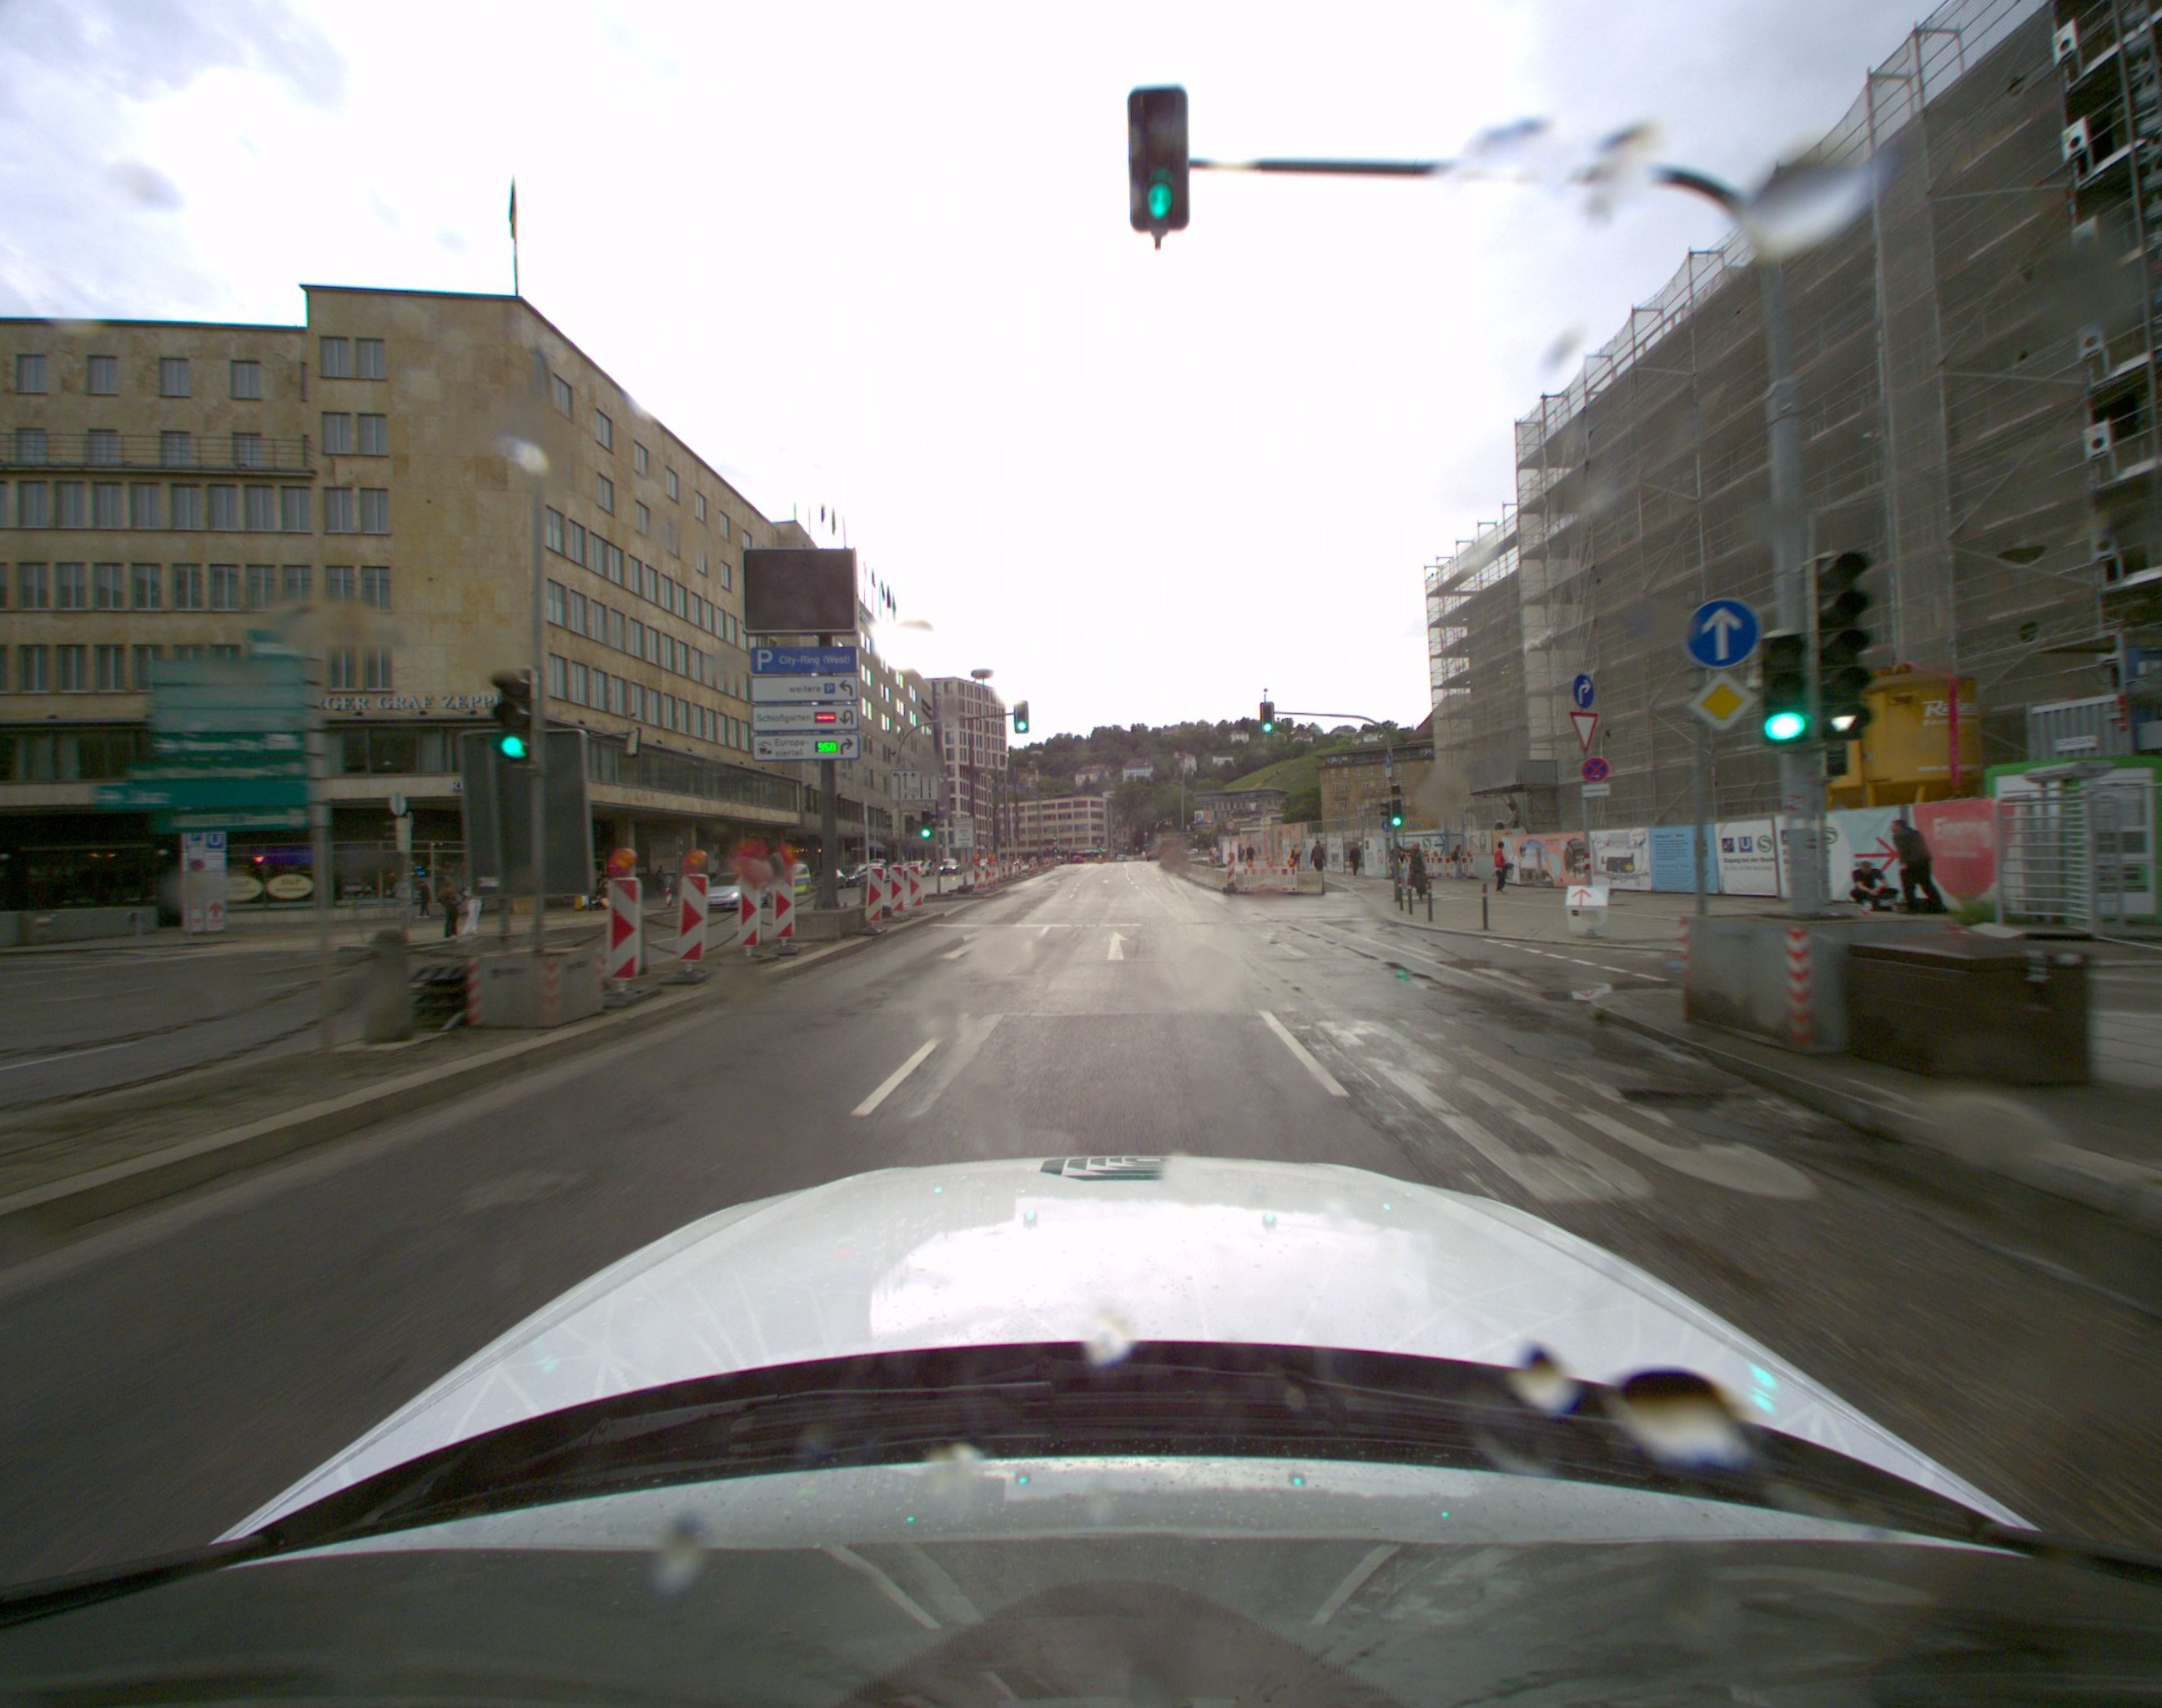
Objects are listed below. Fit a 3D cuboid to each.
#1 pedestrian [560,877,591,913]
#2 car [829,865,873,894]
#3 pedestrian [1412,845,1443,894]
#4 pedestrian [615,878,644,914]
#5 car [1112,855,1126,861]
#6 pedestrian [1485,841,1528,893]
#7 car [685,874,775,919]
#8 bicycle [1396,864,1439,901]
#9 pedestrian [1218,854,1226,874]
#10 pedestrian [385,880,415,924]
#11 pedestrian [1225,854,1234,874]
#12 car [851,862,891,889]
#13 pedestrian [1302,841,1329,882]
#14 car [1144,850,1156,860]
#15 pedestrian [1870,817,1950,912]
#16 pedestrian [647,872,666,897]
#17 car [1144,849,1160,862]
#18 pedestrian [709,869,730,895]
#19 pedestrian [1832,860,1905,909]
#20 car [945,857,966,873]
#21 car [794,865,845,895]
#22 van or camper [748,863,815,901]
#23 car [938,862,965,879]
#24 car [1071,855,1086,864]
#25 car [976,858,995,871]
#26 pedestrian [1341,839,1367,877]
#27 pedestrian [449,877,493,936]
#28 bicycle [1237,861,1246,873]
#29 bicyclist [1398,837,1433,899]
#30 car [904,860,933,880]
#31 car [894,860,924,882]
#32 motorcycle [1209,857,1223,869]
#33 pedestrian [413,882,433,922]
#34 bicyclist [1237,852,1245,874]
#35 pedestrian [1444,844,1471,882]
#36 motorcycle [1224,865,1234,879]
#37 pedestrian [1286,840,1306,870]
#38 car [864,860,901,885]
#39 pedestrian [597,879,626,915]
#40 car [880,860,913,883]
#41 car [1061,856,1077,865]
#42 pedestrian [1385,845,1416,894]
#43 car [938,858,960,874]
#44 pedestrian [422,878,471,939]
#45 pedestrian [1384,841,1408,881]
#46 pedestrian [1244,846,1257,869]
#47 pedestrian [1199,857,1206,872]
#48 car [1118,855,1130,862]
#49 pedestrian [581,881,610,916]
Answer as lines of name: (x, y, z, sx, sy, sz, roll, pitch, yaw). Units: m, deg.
pedestrian: (-23.066, 1.857, 37.186, 0.718, 1.557, 1.005, -2, -1, 2)
car: (-17.055, 1.850, 60.495, 1.986, 2.014, 4.001, -2, -1, 1)
pedestrian: (11.490, 0.510, 27.001, 0.787, 1.608, 0.841, -3, -1, 29)
pedestrian: (-20.293, 1.881, 36.608, 0.718, 1.557, 0.895, -2, -1, 2)
car: (8.880, 0.958, 191.843, 1.998, 1.442, 3.977, 0, 0, -17)
pedestrian: (13.590, 0.409, 26.032, 0.768, 1.608, 0.859, -2, -1, -14)
car: (-14.279, 1.678, 33.365, 1.762, 1.609, 4.226, -2, -1, 1)
bicycle: (10.176, 0.839, 24.678, 0.704, 1.049, 1.809, -1, 0, 5)
pedestrian: (13.481, 0.951, 77.809, 0.685, 1.841, 0.615, -2, -1, 5)
pedestrian: (-28.985, 2.040, 34.663, 0.697, 1.803, 0.756, -2, -1, -18)
pedestrian: (14.194, 0.945, 77.739, 0.685, 1.841, 0.615, -2, -1, 5)
car: (-17.052, 1.716, 66.354, 1.986, 2.014, 4.165, -2, -1, 1)
pedestrian: (10.787, 0.345, 37.463, 0.937, 1.841, 0.953, -3, -1, 31)
car: (11.380, 0.192, 134.611, 1.769, 1.639, 4.002, -2, 0, 2)
pedestrian: (15.131, 0.193, 14.891, 0.698, 1.672, 0.801, -2, -1, 21)
pedestrian: (-26.403, 1.897, 50.664, 0.791, 1.526, 0.717, -2, -1, 2)
car: (10.437, 0.215, 120.207, 1.987, 1.706, 3.998, -2, -1, -1)
pedestrian: (-21.872, 1.697, 49.330, 0.791, 1.526, 0.917, -2, -1, 2)
pedestrian: (15.636, 0.604, 16.196, 0.788, 0.940, 0.721, -2, -1, 19)
car: (-17.063, 1.446, 110.851, 1.986, 2.013, 4.001, -2, 0, 1)
car: (-17.402, 1.683, 54.331, 1.986, 1.838, 4.001, -2, -1, 1)
van or camper: (-17.492, 1.596, 47.827, 1.987, 2.014, 4.965, -2, -1, 0)
car: (-13.707, 1.721, 86.452, 1.986, 1.750, 4.001, -2, -1, 1)
car: (-0.481, 0.962, 145.862, 1.994, 1.552, 3.985, -2, -1, -10)
car: (-13.157, 1.421, 111.989, 1.986, 1.618, 4.001, -2, -1, 1)
pedestrian: (13.585, 0.176, 40.518, 0.856, 1.841, 0.955, -3, -2, 43)
pedestrian: (-17.908, 1.539, 23.913, 0.753, 1.672, 0.700, -2, -1, 14)
bicycle: (14.790, 1.195, 75.208, 0.641, 1.137, 1.766, -2, -1, 5)
bicyclist: (10.168, 0.429, 24.792, 0.700, 1.845, 0.969, -1, -1, 5)
car: (-16.986, 1.641, 85.187, 1.986, 2.014, 4.417, -2, -1, 1)
car: (-16.952, 1.643, 80.357, 1.986, 2.014, 4.001, -2, -1, 1)
motorcycle: (7.273, 0.483, 44.013, 0.401, 0.682, 0.917, 0, 0, -15)
pedestrian: (-28.552, 2.073, 35.319, 0.653, 1.644, 0.689, -1, -1, -39)
bicyclist: (14.779, 0.855, 75.209, 0.639, 2.014, 0.656, -2, -1, 5)
pedestrian: (17.139, 0.403, 37.094, 0.861, 1.661, 0.798, -2, -1, 3)
motorcycle: (7.677, 0.916, 42.248, 0.369, 0.722, 0.922, 0, 0, 3)
pedestrian: (13.725, 0.088, 51.953, 0.944, 1.841, 0.866, -2, -1, -3)
car: (-17.001, 1.541, 69.982, 1.986, 2.014, 4.001, -2, -1, 1)
pedestrian: (-21.080, 1.901, 36.573, 0.718, 1.557, 0.906, -2, -1, 2)
car: (-16.908, 1.612, 74.892, 1.986, 2.014, 4.001, -2, -1, 1)
car: (-2.518, 1.437, 173.434, 1.786, 1.639, 3.963, -5, -1, -28)
pedestrian: (10.773, 0.522, 27.444, 0.787, 1.608, 0.841, -3, -1, 29)
car: (-17.064, 1.574, 105.380, 1.986, 2.014, 4.001, -2, -1, 1)
pedestrian: (-18.035, 1.526, 23.146, 0.827, 1.672, 0.706, -2, -1, 14)
pedestrian: (14.569, 0.323, 37.668, 0.859, 1.841, 0.799, -2, -1, 10)
pedestrian: (13.808, 0.271, 66.411, 0.941, 1.841, 0.869, -2, -1, 7)
pedestrian: (14.888, 1.281, 99.934, 0.685, 1.841, 0.615, -2, -1, 5)
car: (9.300, 0.939, 177.936, 1.819, 1.442, 3.987, 0, 0, -9)
pedestrian: (-22.123, 2.011, 37.123, 0.718, 1.557, 0.895, -2, -1, 2)
